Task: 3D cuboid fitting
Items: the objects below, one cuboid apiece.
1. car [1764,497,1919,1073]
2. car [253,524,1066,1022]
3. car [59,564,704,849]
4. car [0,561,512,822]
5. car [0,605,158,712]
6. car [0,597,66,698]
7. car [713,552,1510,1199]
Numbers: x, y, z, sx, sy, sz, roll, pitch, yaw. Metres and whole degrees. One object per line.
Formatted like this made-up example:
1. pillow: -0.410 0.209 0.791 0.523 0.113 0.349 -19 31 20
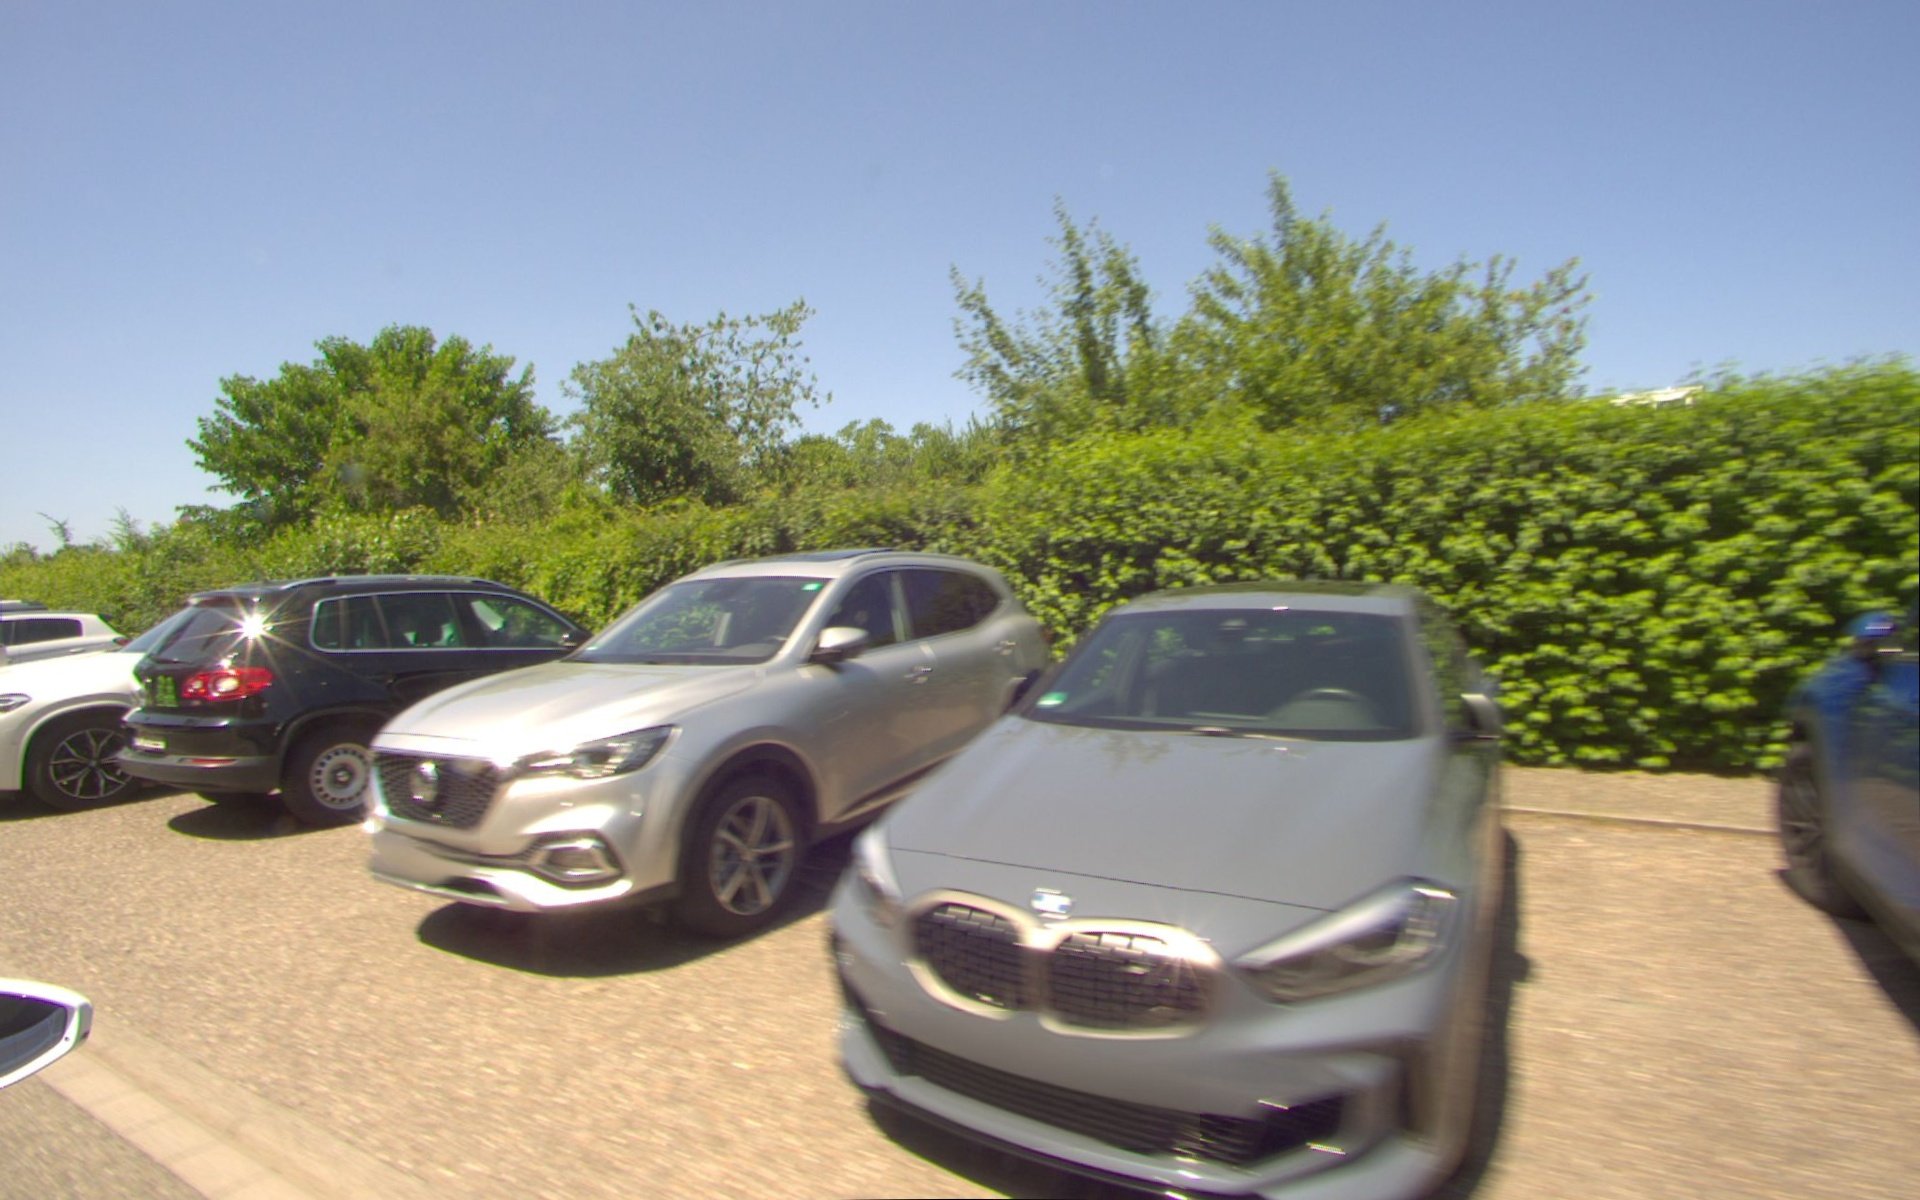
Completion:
1. car: 3.565 0.512 2.496 1.796 1.656 4.230 -1 1 30
2. car: -1.127 0.514 5.653 1.871 1.676 4.228 -1 2 30
3. car: -4.286 0.616 8.125 1.860 1.679 4.116 -1 0 32
4. car: -6.725 0.619 9.252 1.849 1.721 4.395 -2 3 29
5. car: -14.977 0.938 15.254 1.790 1.500 3.941 -2 2 36
6. car: -17.603 0.891 16.414 1.785 1.691 3.952 -2 1 26
7. car: 1.158 0.596 4.058 1.788 1.458 4.122 -2 2 30
